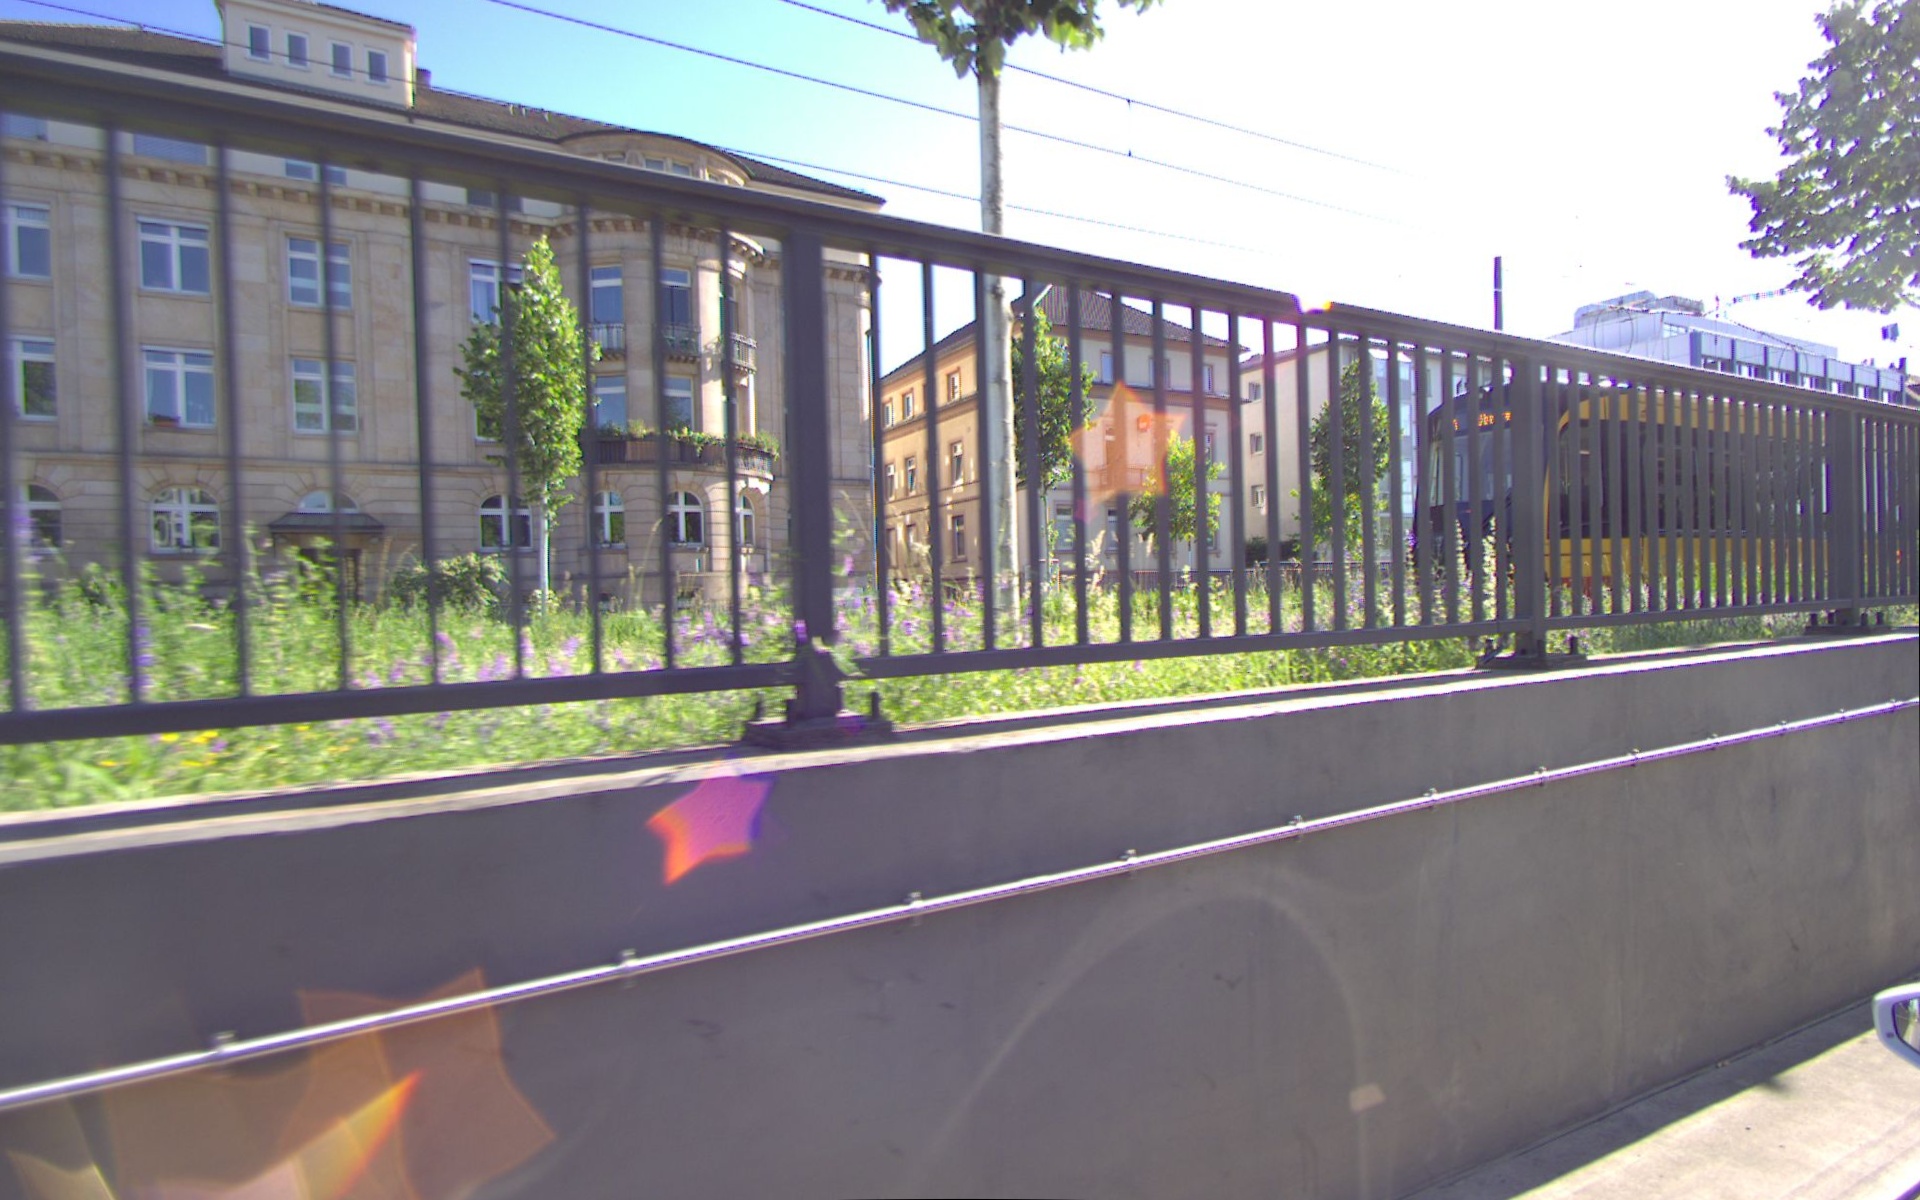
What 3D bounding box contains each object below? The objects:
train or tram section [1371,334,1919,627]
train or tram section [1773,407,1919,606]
[{"bbox_3d":[12.488,-1.627,17.175,13.181,3.705,2.598,-1,2,-30],"label":"train or tram section"},{"bbox_3d":[23.732,-1.942,23.761,12.936,3.873,2.598,-1,2,-31],"label":"train or tram section"}]
